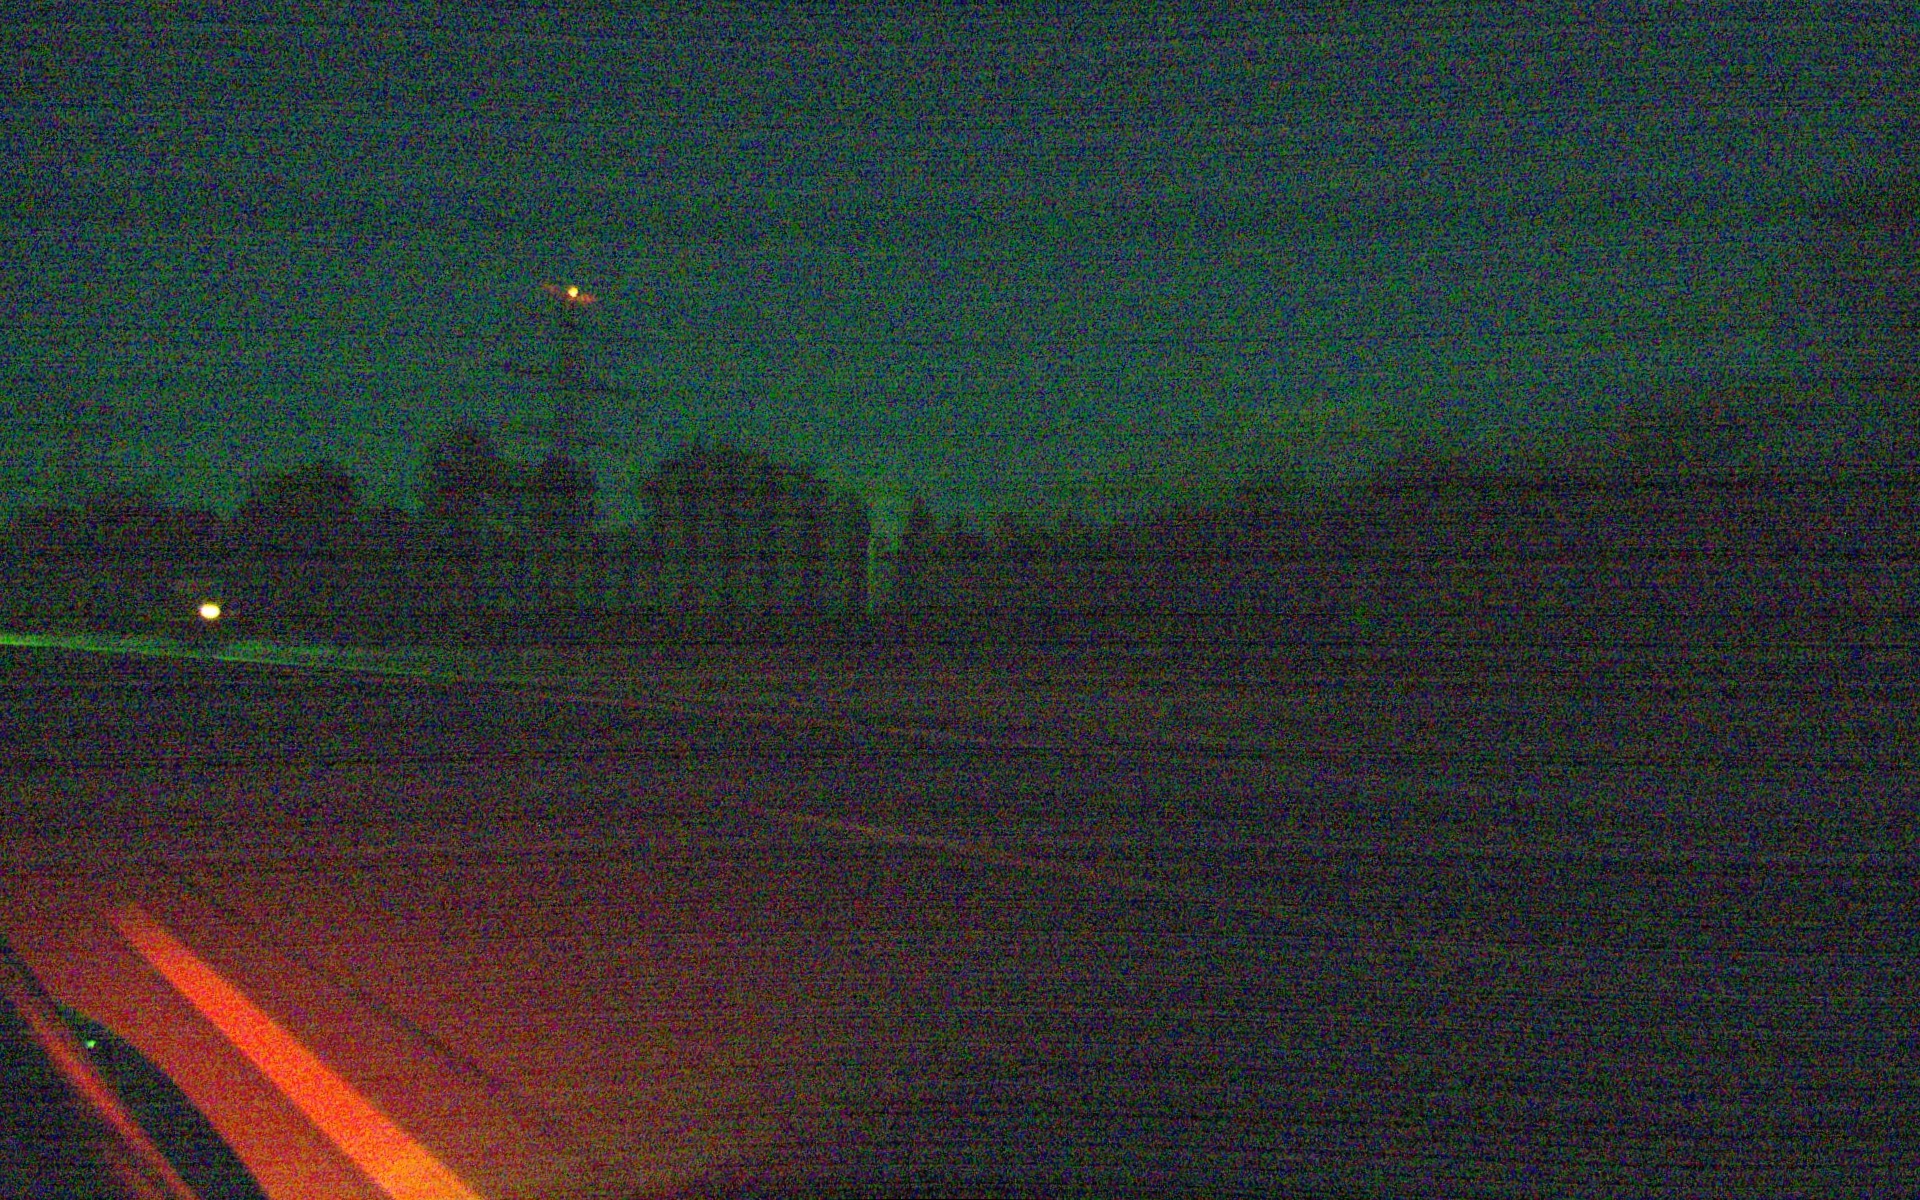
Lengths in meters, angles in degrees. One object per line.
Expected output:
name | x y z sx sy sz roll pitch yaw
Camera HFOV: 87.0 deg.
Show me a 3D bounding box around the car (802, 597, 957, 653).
car | -2.592 0.758 31.851 4.894 1.610 2.030 -1 -1 41
